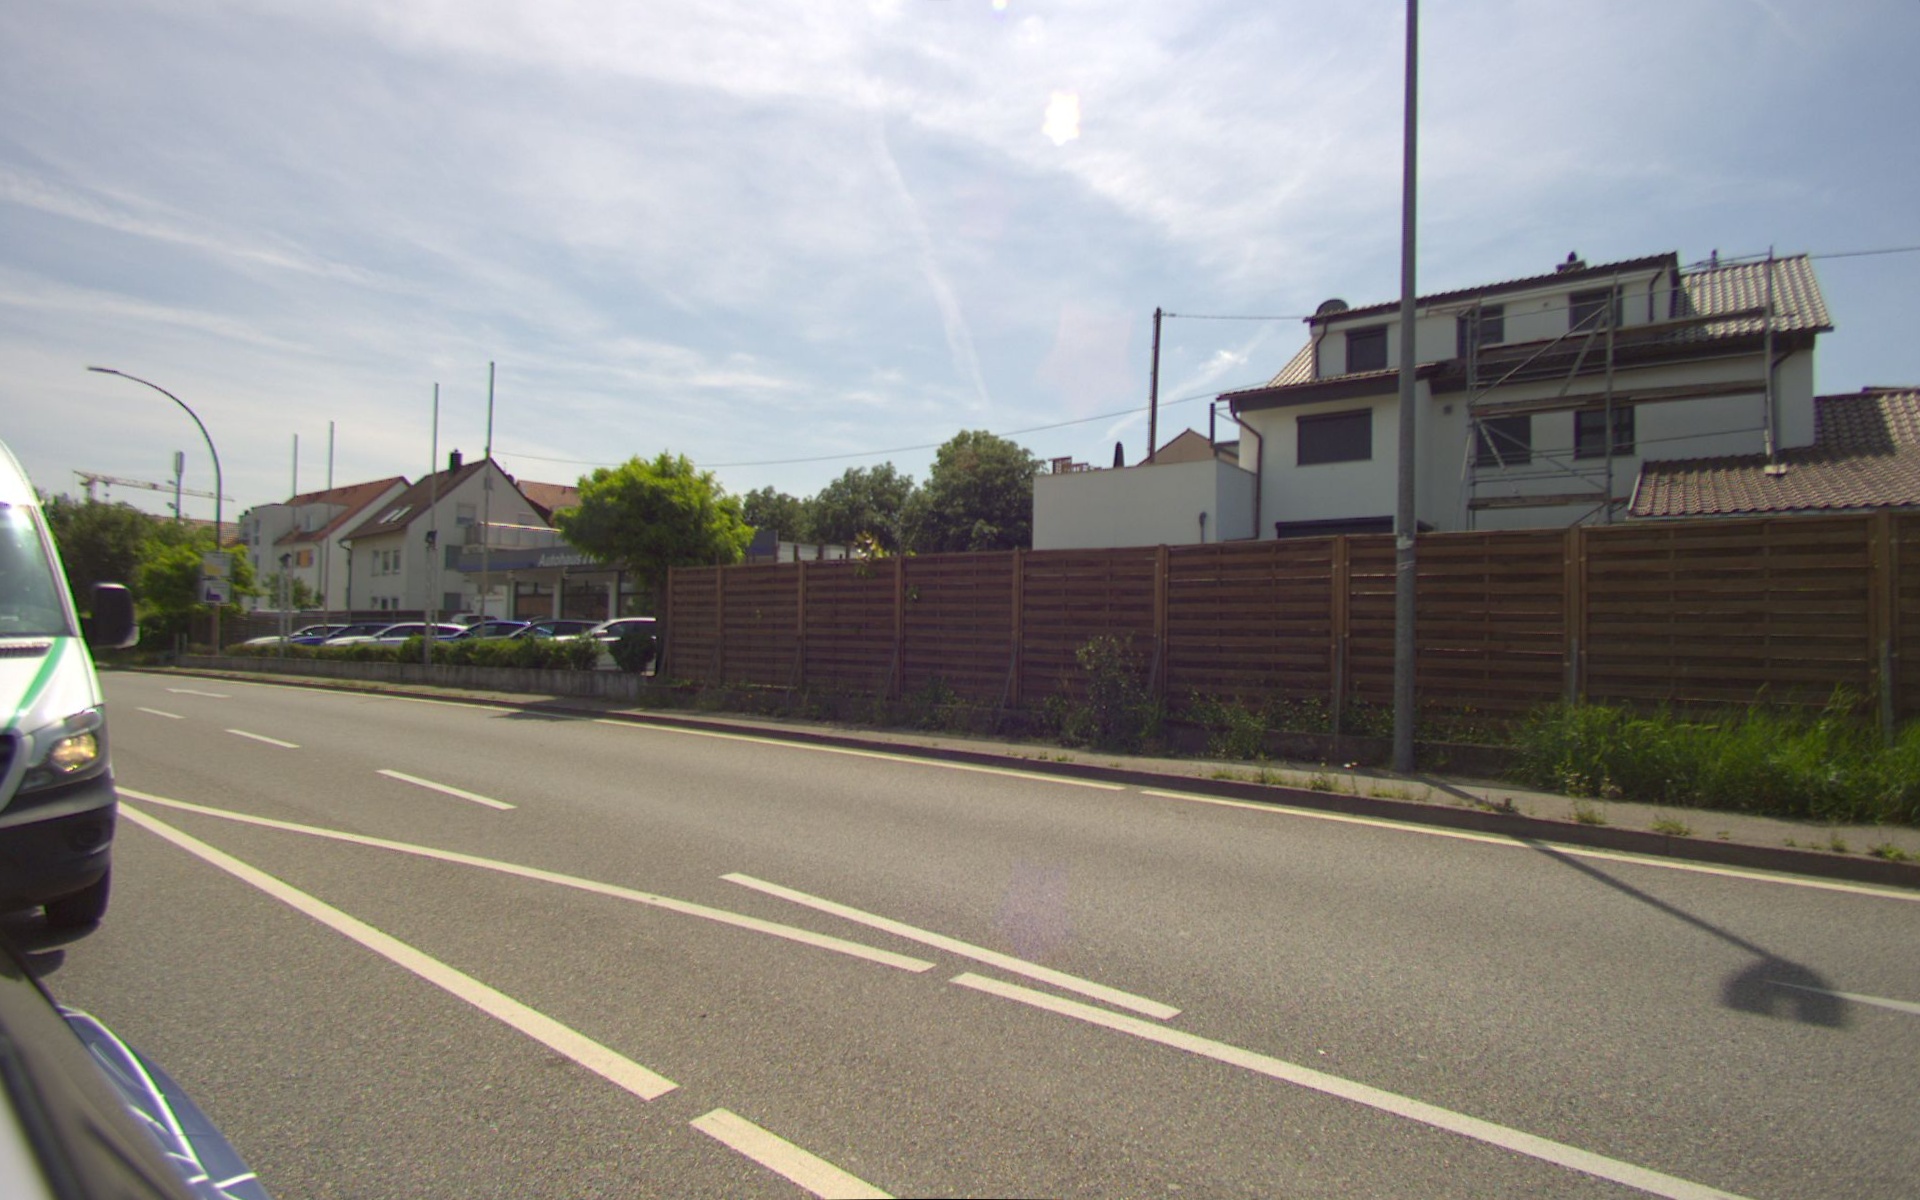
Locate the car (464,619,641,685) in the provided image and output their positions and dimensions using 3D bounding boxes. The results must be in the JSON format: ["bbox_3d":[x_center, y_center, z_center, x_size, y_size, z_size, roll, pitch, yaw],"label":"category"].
[{"bbox_3d":[-10.821,1.326,26.903,4.187,1.557,1.856,-1,-1,-27],"label":"car"}]

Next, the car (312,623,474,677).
[{"bbox_3d":[-17.738,1.522,31.906,4.238,1.530,2.006,-1,-1,-23],"label":"car"}]

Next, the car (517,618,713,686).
[{"bbox_3d":[-8.299,1.201,24.379,4.264,1.471,1.861,0,-1,-26],"label":"car"}]

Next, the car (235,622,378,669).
[{"bbox_3d":[-23.975,1.639,37.316,4.192,1.541,2.006,-1,-1,-24],"label":"car"}]

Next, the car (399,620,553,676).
[{"bbox_3d":[-14.032,1.353,29.483,3.930,1.453,1.860,-1,-1,-25],"label":"car"}]

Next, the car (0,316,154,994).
[{"bbox_3d":[-6.188,0.272,5.308,5.628,2.619,1.953,-2,-1,39],"label":"car"}]

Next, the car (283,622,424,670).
[{"bbox_3d":[-20.764,1.542,34.848,3.930,1.475,2.006,-1,-1,-24],"label":"car"}]
